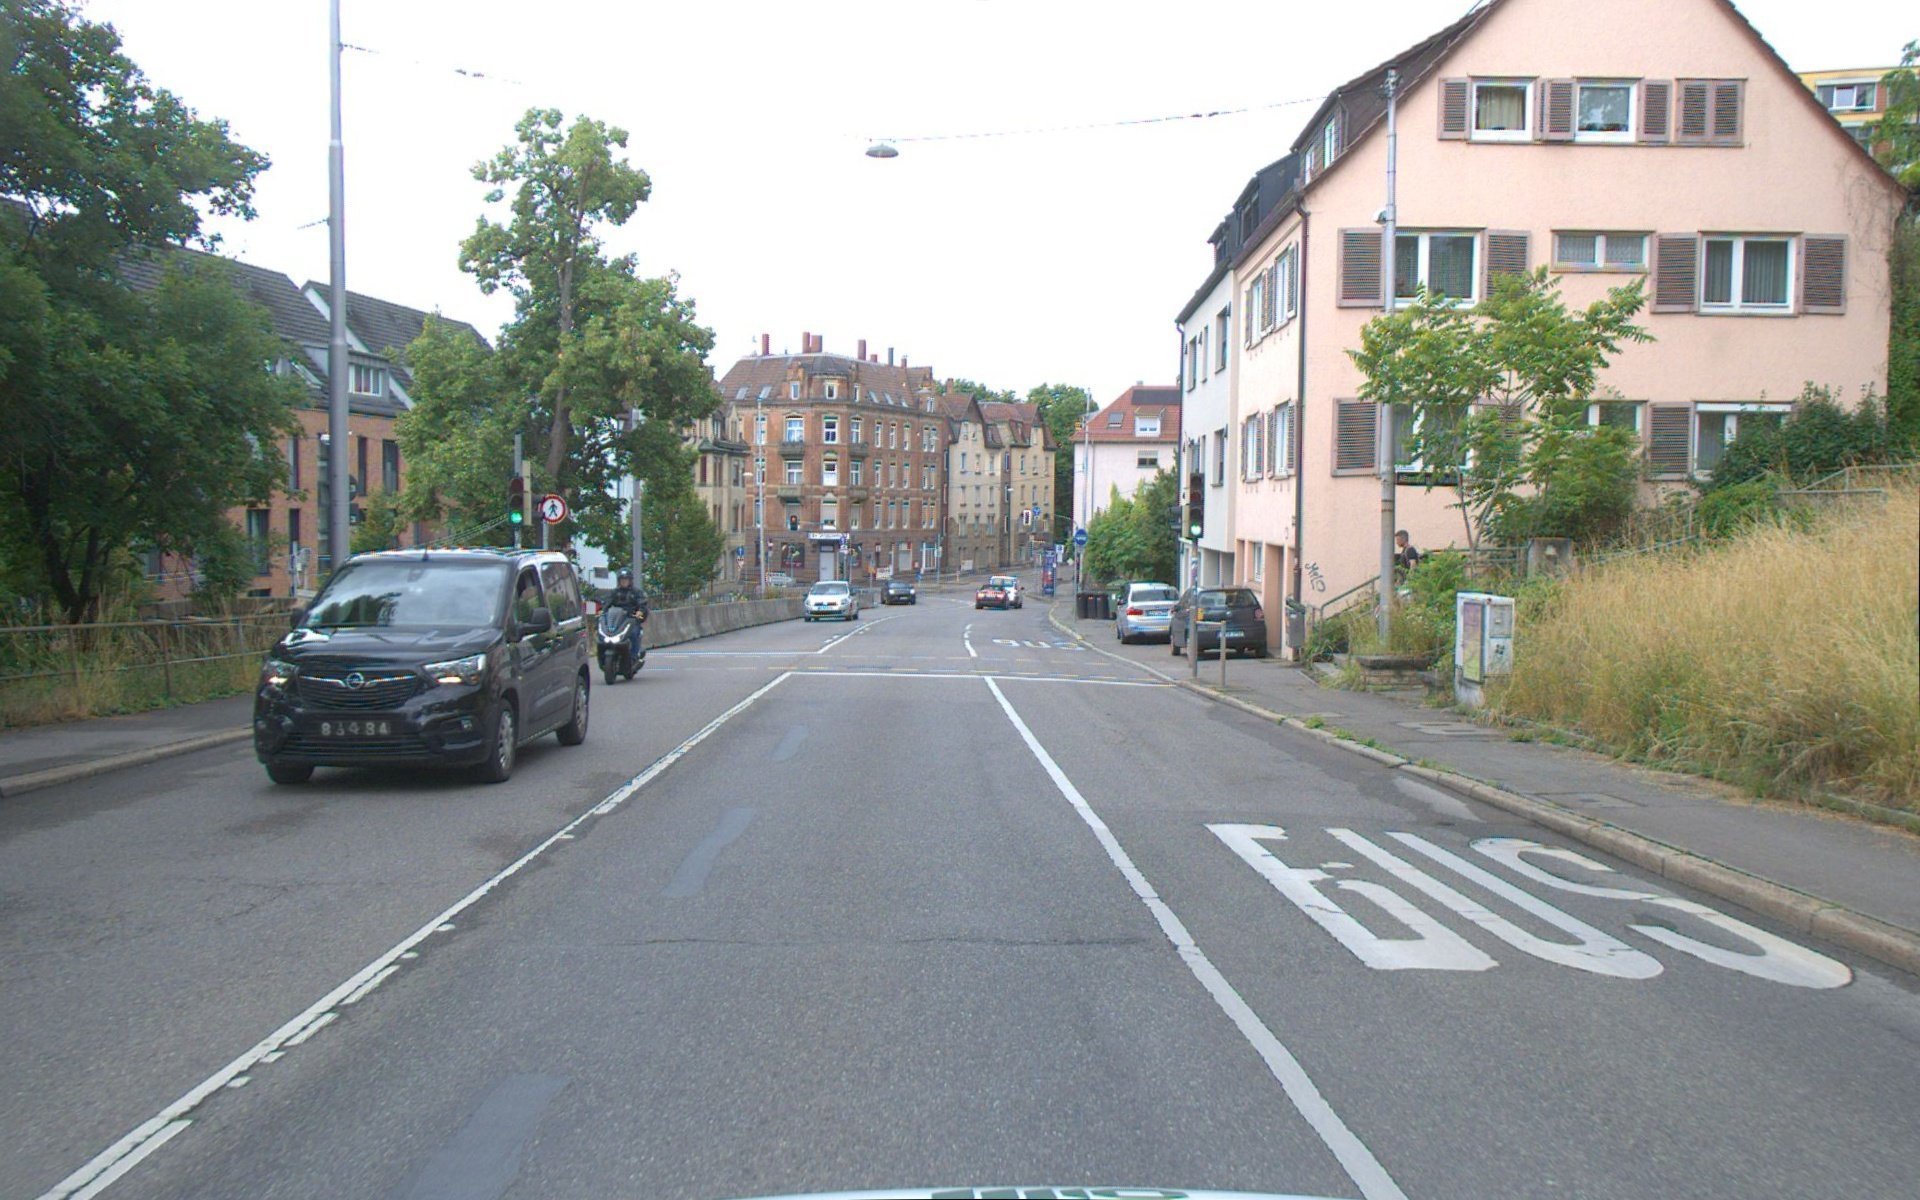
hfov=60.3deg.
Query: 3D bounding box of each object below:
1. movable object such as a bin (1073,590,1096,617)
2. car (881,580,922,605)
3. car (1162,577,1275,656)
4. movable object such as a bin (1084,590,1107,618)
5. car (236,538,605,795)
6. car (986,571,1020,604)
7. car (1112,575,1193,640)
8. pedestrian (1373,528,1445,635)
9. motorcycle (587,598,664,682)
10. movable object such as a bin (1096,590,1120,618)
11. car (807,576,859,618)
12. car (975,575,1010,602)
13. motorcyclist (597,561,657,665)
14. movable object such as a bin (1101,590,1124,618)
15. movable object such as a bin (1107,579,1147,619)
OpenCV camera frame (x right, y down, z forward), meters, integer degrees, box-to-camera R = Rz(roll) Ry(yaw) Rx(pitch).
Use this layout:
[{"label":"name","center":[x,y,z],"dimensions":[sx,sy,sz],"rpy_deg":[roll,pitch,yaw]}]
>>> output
[{"label":"movable object such as a bin","center":[4.928,0.129,65.527],"dimensions":[0.730,1.077,0.676],"rpy_deg":[0,0,-16]},{"label":"car","center":[-3.930,-0.502,112.171],"dimensions":[1.939,1.602,4.379],"rpy_deg":[-1,1,9]},{"label":"car","center":[5.369,0.318,34.773],"dimensions":[1.647,1.476,4.000],"rpy_deg":[-3,0,-1]},{"label":"movable object such as a bin","center":[5.323,0.142,64.880],"dimensions":[0.730,1.077,0.676],"rpy_deg":[0,0,-16]},{"label":"car","center":[-4.234,0.425,13.755],"dimensions":[1.748,1.776,4.427],"rpy_deg":[0,1,-2]},{"label":"car","center":[2.673,-0.782,101.534],"dimensions":[1.869,1.916,4.002],"rpy_deg":[2,1,4]},{"label":"car","center":[5.007,0.154,43.543],"dimensions":[1.757,1.476,4.720],"rpy_deg":[-3,1,3]},{"label":"pedestrian","center":[7.480,-0.313,27.602],"dimensions":[0.869,1.725,0.872],"rpy_deg":[2,0,-4]},{"label":"motorcycle","center":[-5.034,0.579,25.018],"dimensions":[0.769,1.165,2.057],"rpy_deg":[-1,1,-1]},{"label":"movable object such as a bin","center":[5.716,0.149,64.011],"dimensions":[0.730,1.077,0.676],"rpy_deg":[0,0,-16]},{"label":"car","center":[-4.695,-0.125,61.560],"dimensions":[1.685,1.470,4.158],"rpy_deg":[-1,1,-1]},{"label":"car","center":[1.894,-0.661,94.877],"dimensions":[1.778,1.455,4.002],"rpy_deg":[2,1,4]},{"label":"motorcyclist","center":[-5.036,0.191,25.079],"dimensions":[0.769,1.542,0.668],"rpy_deg":[-1,1,-1]},{"label":"movable object such as a bin","center":[5.838,0.158,63.282],"dimensions":[0.697,1.077,0.545],"rpy_deg":[0,0,-16]},{"label":"movable object such as a bin","center":[6.271,-0.036,62.167],"dimensions":[1.030,1.470,1.413],"rpy_deg":[0,0,-15]}]
